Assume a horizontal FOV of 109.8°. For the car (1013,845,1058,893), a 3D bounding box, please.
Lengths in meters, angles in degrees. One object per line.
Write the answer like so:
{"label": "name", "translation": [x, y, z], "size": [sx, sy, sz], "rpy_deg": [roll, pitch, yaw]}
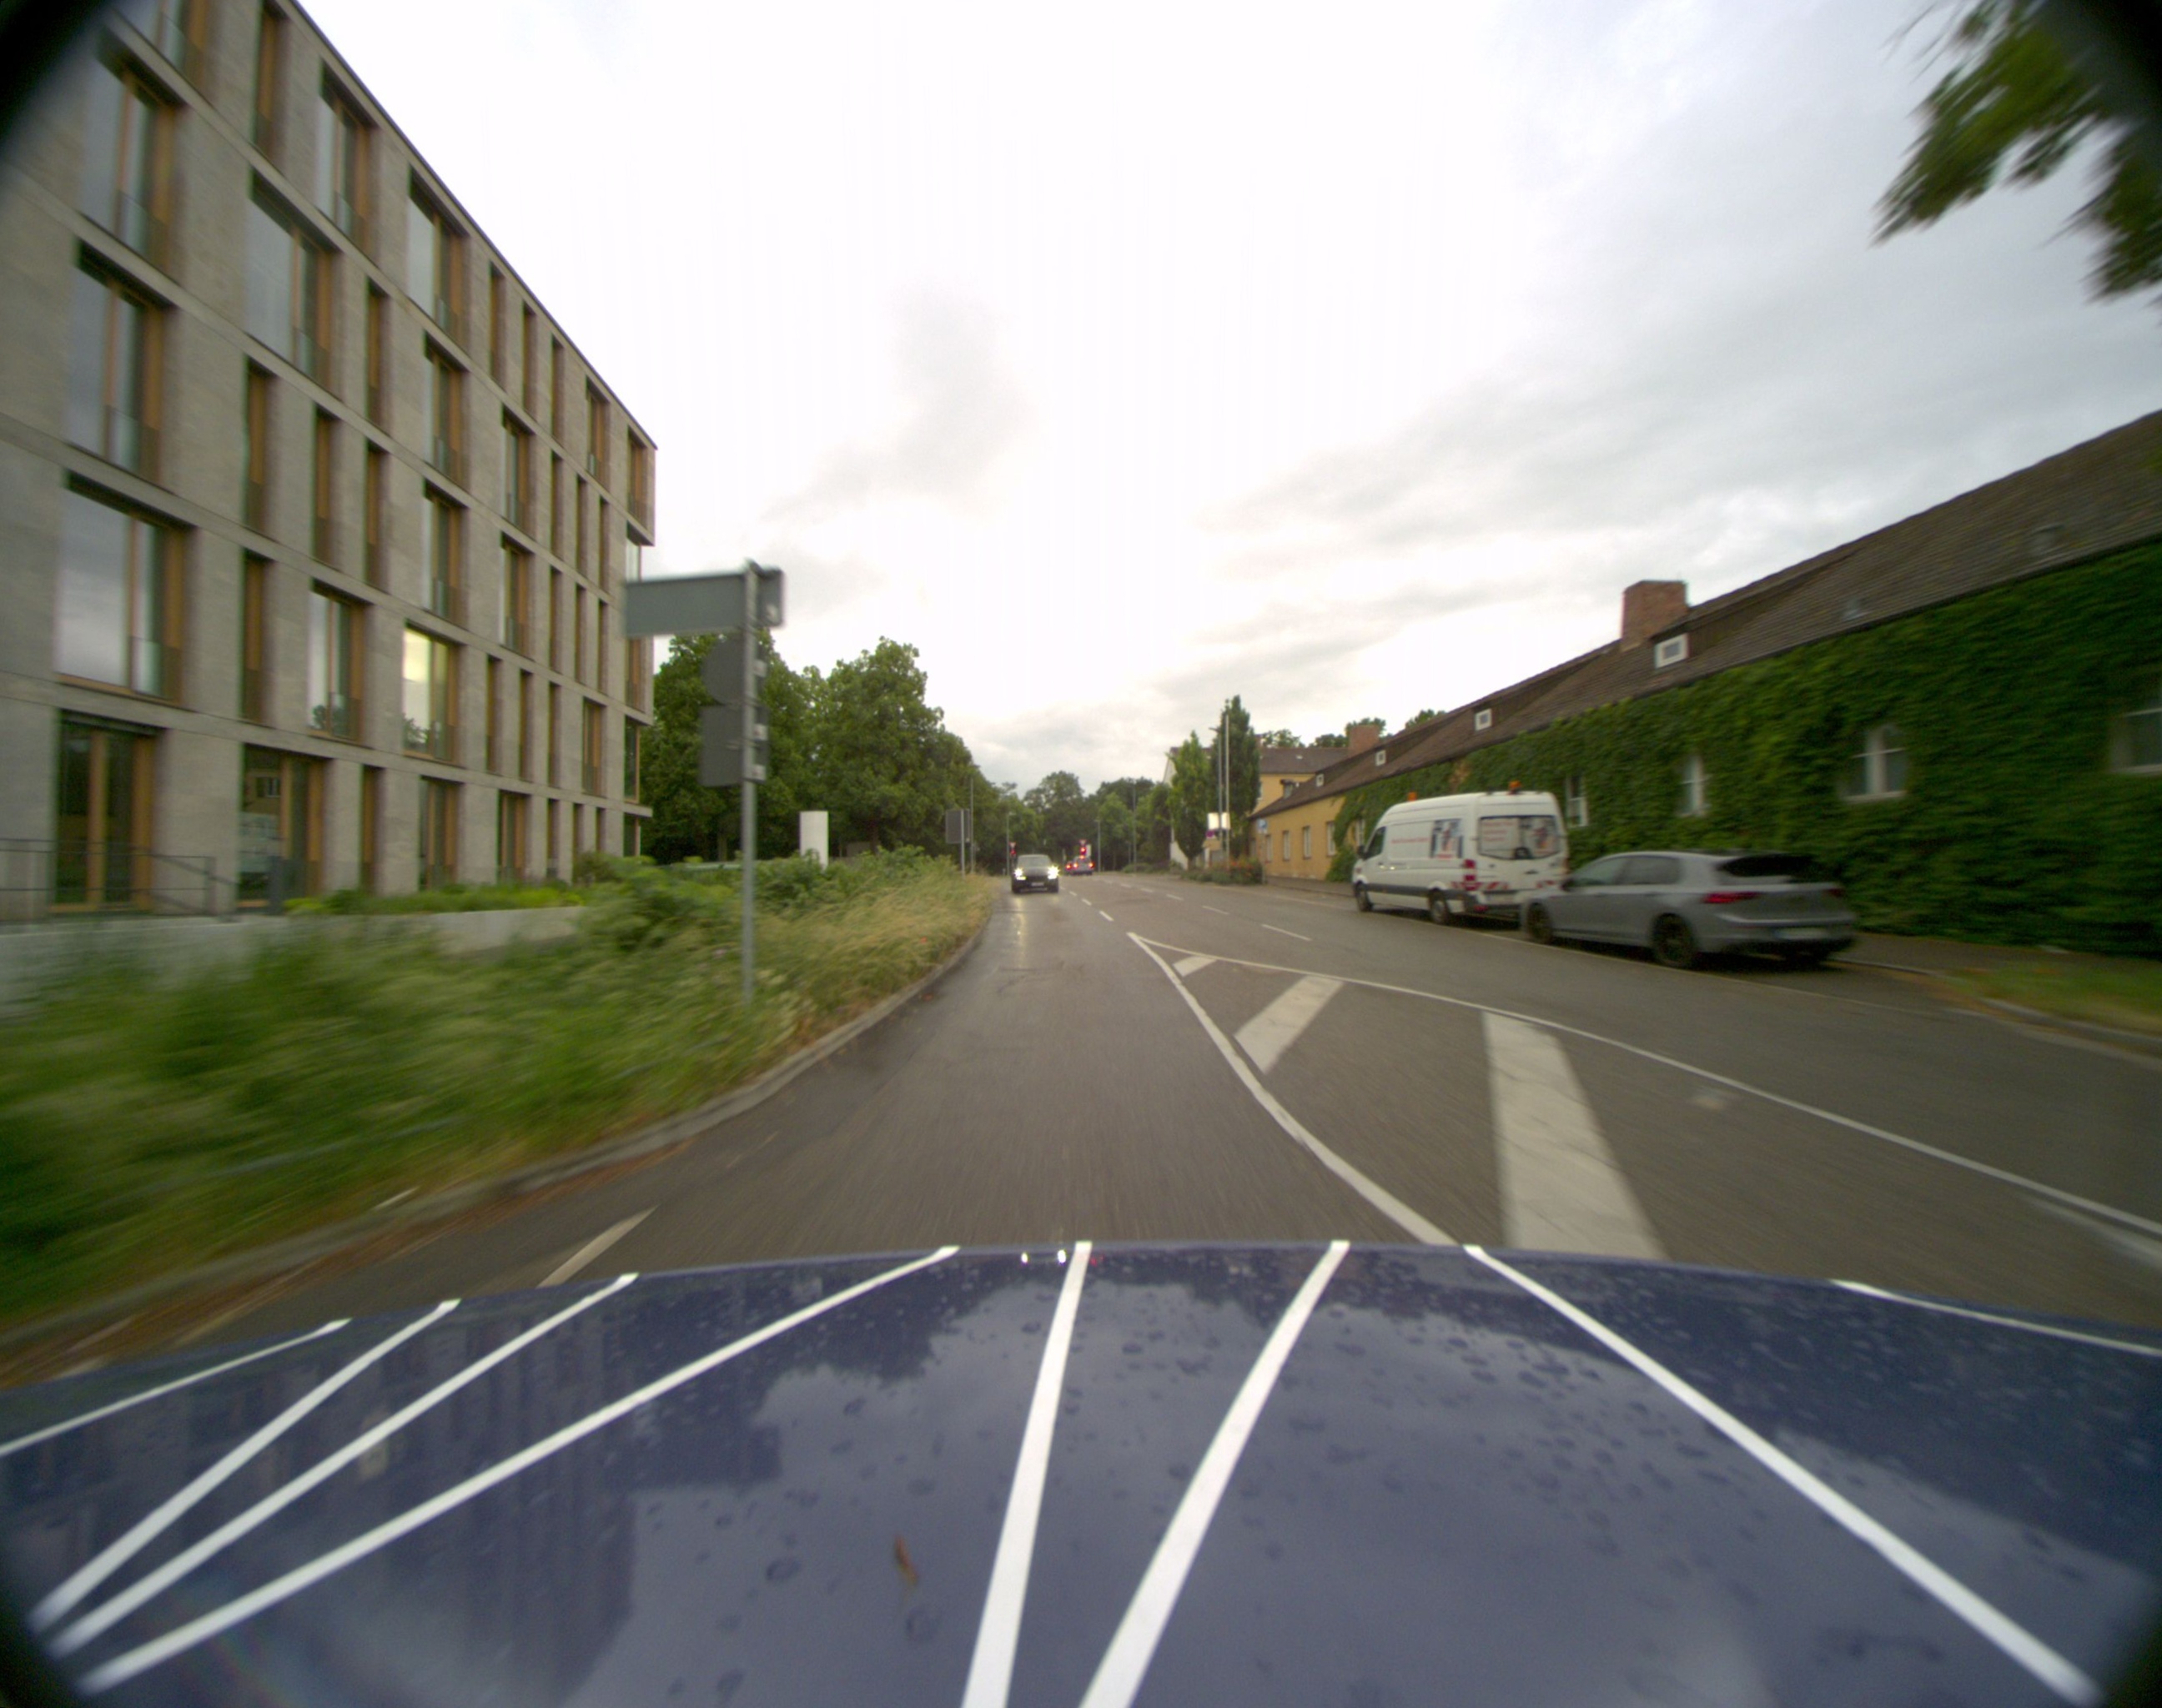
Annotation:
{"label": "car", "translation": [-2.125, 0.614, 34.535], "size": [1.848, 1.961, 4.341], "rpy_deg": [-2, 1, -5]}

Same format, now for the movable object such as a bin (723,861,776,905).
{"label": "movable object such as a bin", "translation": [-11.985, 1.037, 27.525], "size": [1.249, 1.449, 1.111], "rpy_deg": [-5, 1, 4]}

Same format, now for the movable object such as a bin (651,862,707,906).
{"label": "movable object such as a bin", "translation": [-14.574, 1.082, 27.572], "size": [1.198, 1.495, 1.387], "rpy_deg": [-2, 1, 2]}

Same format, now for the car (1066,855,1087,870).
{"label": "car", "translation": [-0.511, 0.908, 81.674], "size": [1.888, 1.449, 4.467], "rpy_deg": [-2, 1, -6]}

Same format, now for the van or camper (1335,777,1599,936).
{"label": "van or camper", "translation": [7.894, 0.050, 16.563], "size": [2.346, 2.749, 6.140], "rpy_deg": [-2, 0, -3]}

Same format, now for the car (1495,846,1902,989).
{"label": "car", "translation": [8.003, 0.674, 10.561], "size": [1.999, 1.504, 4.422], "rpy_deg": [-2, 1, -1]}

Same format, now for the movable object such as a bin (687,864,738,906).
{"label": "movable object such as a bin", "translation": [-13.297, 1.110, 27.438], "size": [1.100, 1.391, 1.150], "rpy_deg": [-5, 1, 4]}

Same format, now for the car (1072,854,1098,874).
{"label": "car", "translation": [0.366, 0.897, 70.418], "size": [1.900, 1.695, 4.507], "rpy_deg": [-2, 1, -5]}
